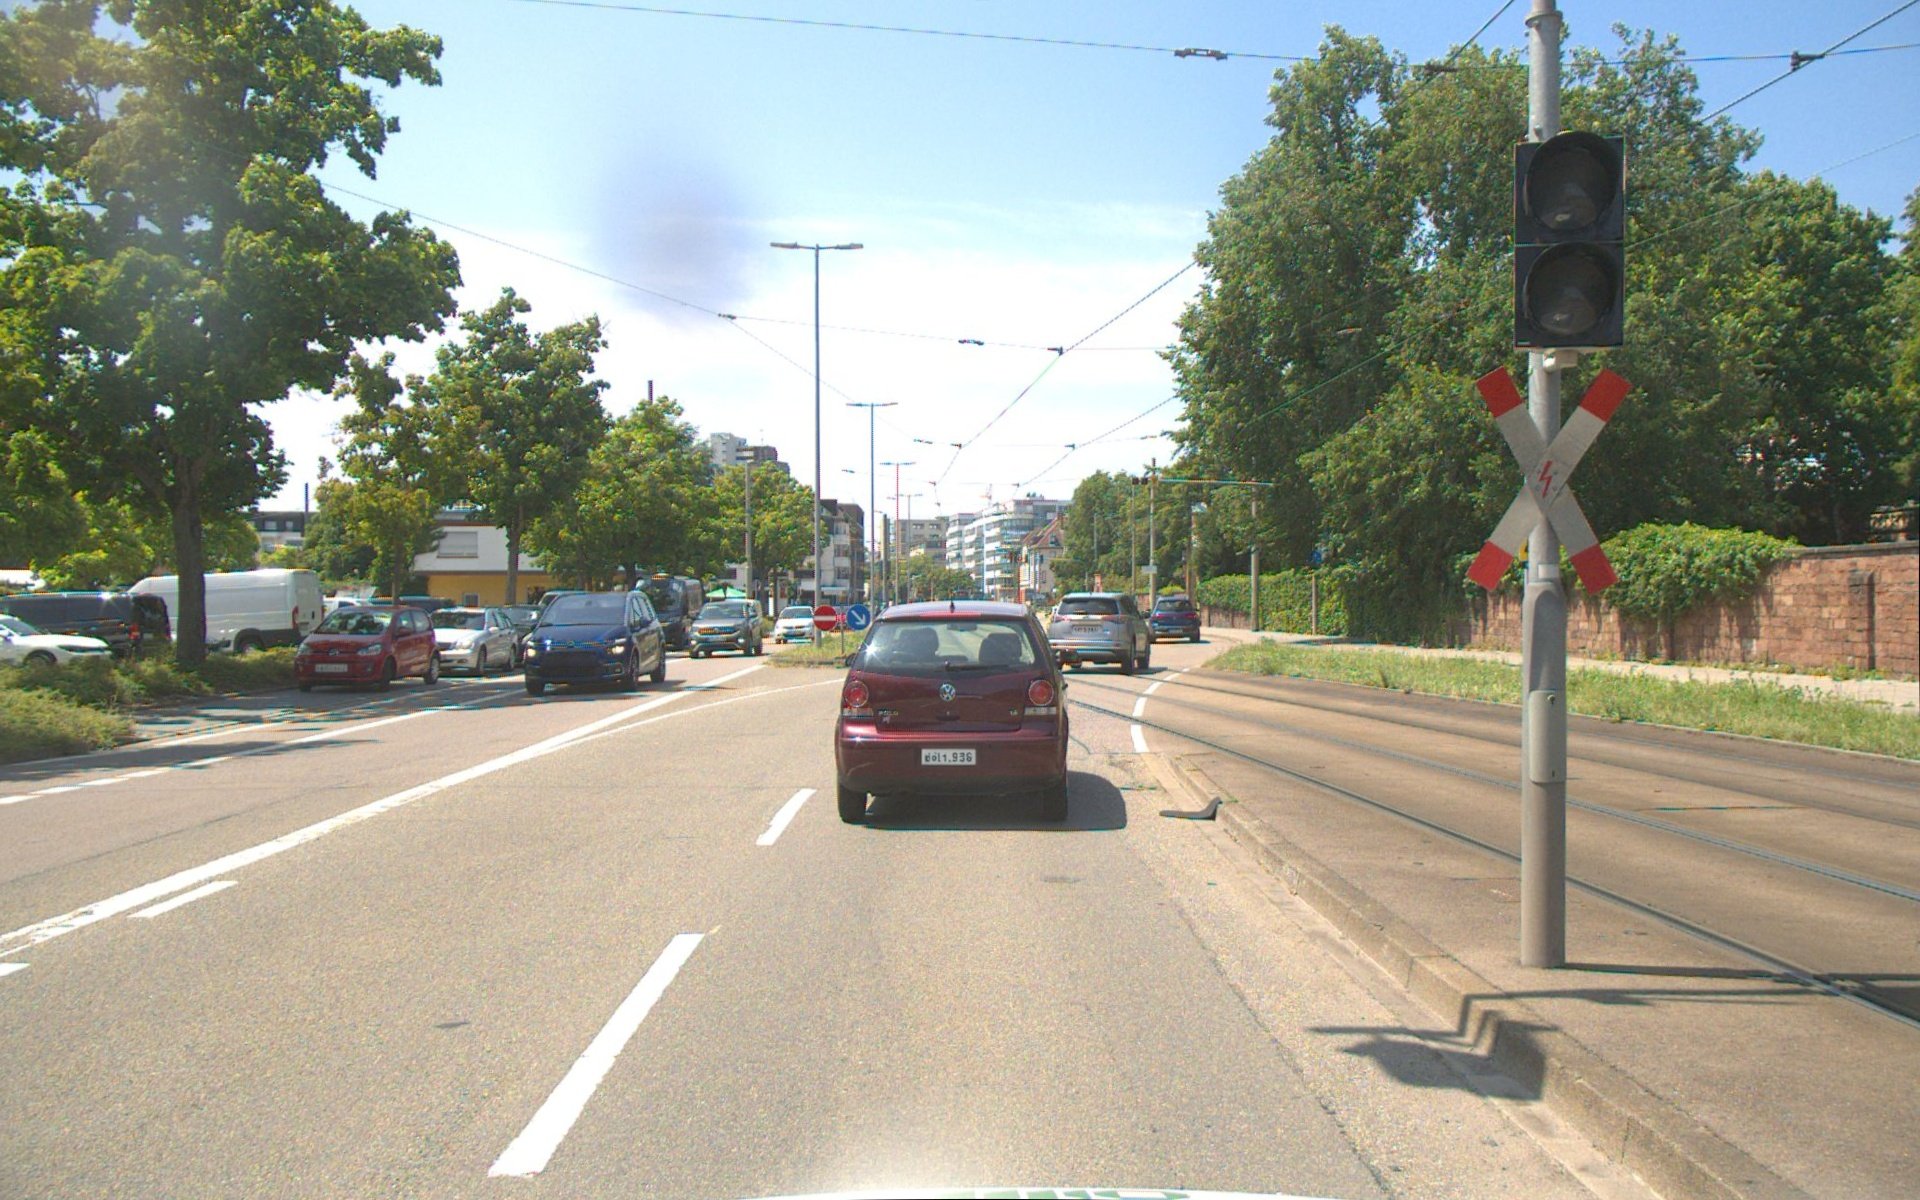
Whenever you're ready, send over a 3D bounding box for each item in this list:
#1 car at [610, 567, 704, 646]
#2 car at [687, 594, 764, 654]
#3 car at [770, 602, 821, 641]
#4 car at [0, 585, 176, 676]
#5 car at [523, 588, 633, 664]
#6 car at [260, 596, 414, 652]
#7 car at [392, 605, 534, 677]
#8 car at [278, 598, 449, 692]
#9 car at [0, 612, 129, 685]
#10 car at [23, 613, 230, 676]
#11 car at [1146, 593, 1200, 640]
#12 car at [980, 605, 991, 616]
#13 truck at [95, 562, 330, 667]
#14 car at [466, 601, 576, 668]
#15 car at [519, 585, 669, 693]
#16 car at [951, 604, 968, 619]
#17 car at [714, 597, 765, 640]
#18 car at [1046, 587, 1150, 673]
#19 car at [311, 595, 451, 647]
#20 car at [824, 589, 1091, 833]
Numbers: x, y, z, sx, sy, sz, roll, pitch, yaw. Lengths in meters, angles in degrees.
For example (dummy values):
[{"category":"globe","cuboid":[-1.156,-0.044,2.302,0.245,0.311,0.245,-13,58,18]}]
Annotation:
[{"category":"car","cuboid":[-11.002,0.232,60.566,2.349,2.703,6.172,-1,0,-1]},{"category":"car","cuboid":[-6.656,0.658,47.294,1.702,1.603,3.712,-1,0,-1]},{"category":"car","cuboid":[-6.441,0.847,65.156,1.615,1.400,3.810,-3,-1,-1]},{"category":"car","cuboid":[-20.778,0.699,38.507,4.125,2.030,1.856,-1,0,-3]},{"category":"car","cuboid":[-10.785,0.706,47.053,1.824,1.971,4.806,3,0,1]},{"category":"car","cuboid":[-21.586,0.826,57.441,4.623,1.845,1.796,-1,0,-3]},{"category":"car","cuboid":[-10.814,0.854,36.346,1.683,1.452,4.770,0,0,0]},{"category":"car","cuboid":[-10.700,0.787,29.935,1.637,1.573,3.727,1,-1,1]},{"category":"car","cuboid":[-20.978,1.057,36.036,4.666,1.514,2.057,-1,0,-3]},{"category":"car","cuboid":[-20.506,1.075,40.830,4.125,1.436,1.856,-1,0,-3]},{"category":"car","cuboid":[7.744,0.590,60.413,1.737,1.659,4.002,1,0,4]},{"category":"car","cuboid":[3.172,1.289,204.811,1.326,1.274,2.972,1,0,0]},{"category":"truck","cuboid":[-20.939,0.392,46.538,5.464,2.808,2.432,-1,0,0]},{"category":"car","cuboid":[-10.936,0.838,41.442,1.581,1.510,3.785,3,0,1]},{"category":"car","cuboid":[-6.204,0.631,28.453,1.702,1.686,4.065,-1,0,-1]},{"category":"car","cuboid":[-0.055,1.596,224.811,1.881,1.944,4.565,-1,0,-6]},{"category":"car","cuboid":[-11.085,0.903,83.383,1.837,1.999,5.163,3,0,-1]},{"category":"car","cuboid":[3.015,0.617,35.571,1.757,1.712,4.003,1,0,12]},{"category":"car","cuboid":[-21.733,0.771,62.189,4.623,1.845,1.796,-1,0,-3]},{"category":"car","cuboid":[0.134,0.718,12.530,1.575,1.524,4.003,-1,0,6]}]
